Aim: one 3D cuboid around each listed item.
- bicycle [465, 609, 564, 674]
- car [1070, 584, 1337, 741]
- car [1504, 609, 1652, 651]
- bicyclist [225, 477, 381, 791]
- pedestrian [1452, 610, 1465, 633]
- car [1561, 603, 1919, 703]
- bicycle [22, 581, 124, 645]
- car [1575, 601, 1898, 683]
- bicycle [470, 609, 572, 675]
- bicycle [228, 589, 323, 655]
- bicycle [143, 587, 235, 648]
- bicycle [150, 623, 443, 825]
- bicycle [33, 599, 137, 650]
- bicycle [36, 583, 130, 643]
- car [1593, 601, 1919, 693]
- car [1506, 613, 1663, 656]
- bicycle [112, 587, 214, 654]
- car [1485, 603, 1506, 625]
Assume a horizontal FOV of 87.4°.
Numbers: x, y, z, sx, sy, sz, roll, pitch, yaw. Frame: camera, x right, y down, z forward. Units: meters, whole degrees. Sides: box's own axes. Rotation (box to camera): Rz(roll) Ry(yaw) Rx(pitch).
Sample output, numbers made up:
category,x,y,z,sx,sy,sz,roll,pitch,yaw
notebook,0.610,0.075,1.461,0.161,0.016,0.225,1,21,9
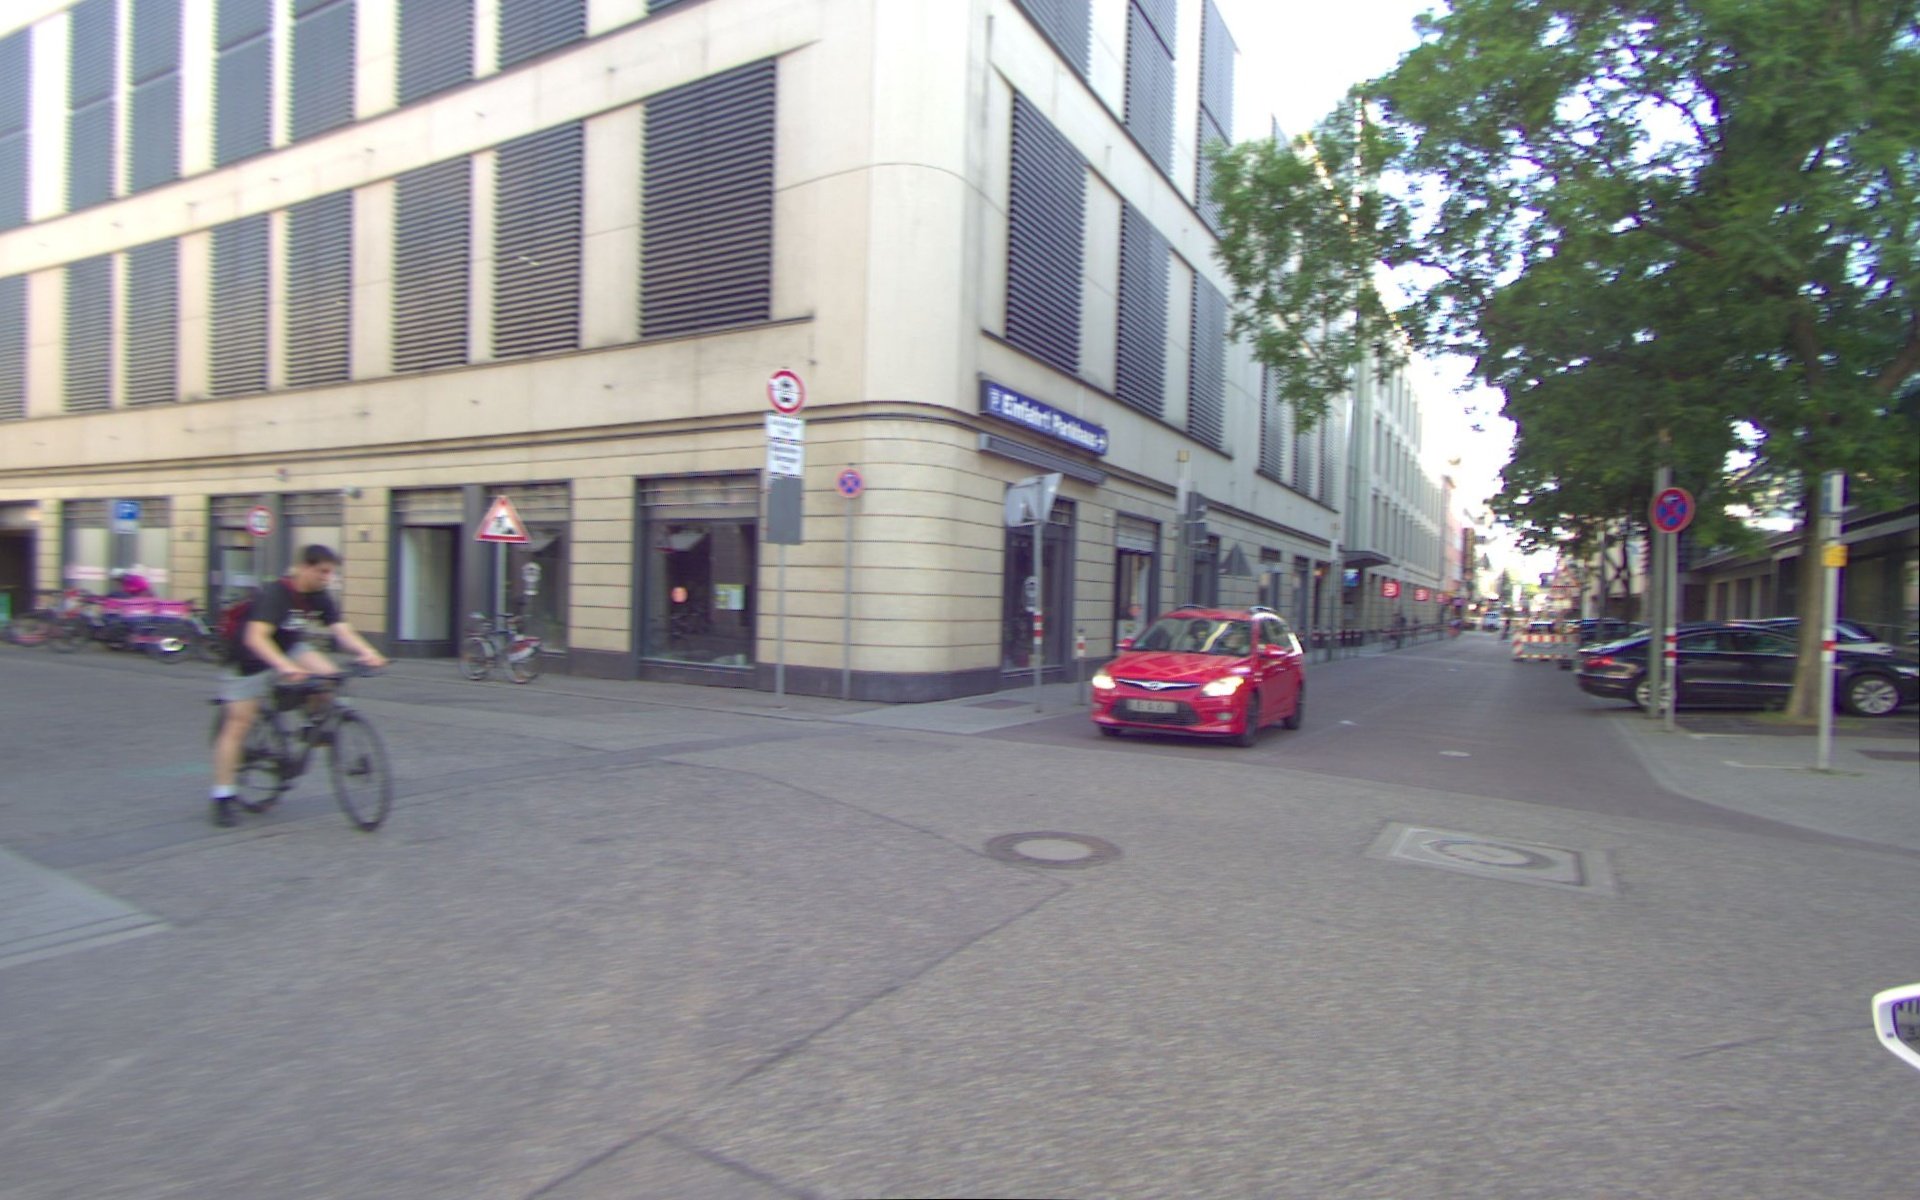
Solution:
category,x,y,z,sx,sy,sz,roll,pitch,yaw
bicycle,-7.546,0.688,17.050,1.506,1.047,0.349,1,1,-39
car,3.084,0.677,12.000,1.797,1.484,4.253,2,-1,32
car,24.832,1.233,40.616,4.930,1.519,1.997,-2,-2,29
bicyclist,-3.878,0.183,5.943,0.541,1.755,0.501,3,1,22
pedestrian,35.069,1.515,70.681,0.721,1.595,0.634,3,1,31
car,12.899,0.867,16.630,4.930,1.471,1.997,-2,-2,29
bicycle,-18.378,0.283,20.841,0.347,1.266,1.513,3,0,38
car,15.568,0.887,20.574,4.930,1.519,1.997,-2,-2,29
bicycle,-7.304,0.685,16.752,1.506,1.047,0.349,1,1,-39
bicycle,-13.677,0.436,20.095,0.347,1.266,1.514,3,0,34
bicycle,-16.572,0.381,21.615,1.508,1.266,0.348,2,1,-43
bicycle,-3.949,0.678,5.956,1.785,0.986,0.511,3,1,23
bicycle,-17.446,0.491,20.065,0.347,0.965,1.514,3,0,35
bicycle,-19.270,0.298,22.097,0.348,1.266,1.511,3,1,42
car,14.679,0.870,18.508,4.930,1.519,1.997,-2,-2,29
car,23.712,1.324,38.391,4.930,1.519,1.997,-2,-2,29
bicycle,-15.449,0.405,19.496,1.508,1.266,0.348,2,1,-43
car,62.728,1.624,117.705,1.963,2.360,5.013,4,2,28
